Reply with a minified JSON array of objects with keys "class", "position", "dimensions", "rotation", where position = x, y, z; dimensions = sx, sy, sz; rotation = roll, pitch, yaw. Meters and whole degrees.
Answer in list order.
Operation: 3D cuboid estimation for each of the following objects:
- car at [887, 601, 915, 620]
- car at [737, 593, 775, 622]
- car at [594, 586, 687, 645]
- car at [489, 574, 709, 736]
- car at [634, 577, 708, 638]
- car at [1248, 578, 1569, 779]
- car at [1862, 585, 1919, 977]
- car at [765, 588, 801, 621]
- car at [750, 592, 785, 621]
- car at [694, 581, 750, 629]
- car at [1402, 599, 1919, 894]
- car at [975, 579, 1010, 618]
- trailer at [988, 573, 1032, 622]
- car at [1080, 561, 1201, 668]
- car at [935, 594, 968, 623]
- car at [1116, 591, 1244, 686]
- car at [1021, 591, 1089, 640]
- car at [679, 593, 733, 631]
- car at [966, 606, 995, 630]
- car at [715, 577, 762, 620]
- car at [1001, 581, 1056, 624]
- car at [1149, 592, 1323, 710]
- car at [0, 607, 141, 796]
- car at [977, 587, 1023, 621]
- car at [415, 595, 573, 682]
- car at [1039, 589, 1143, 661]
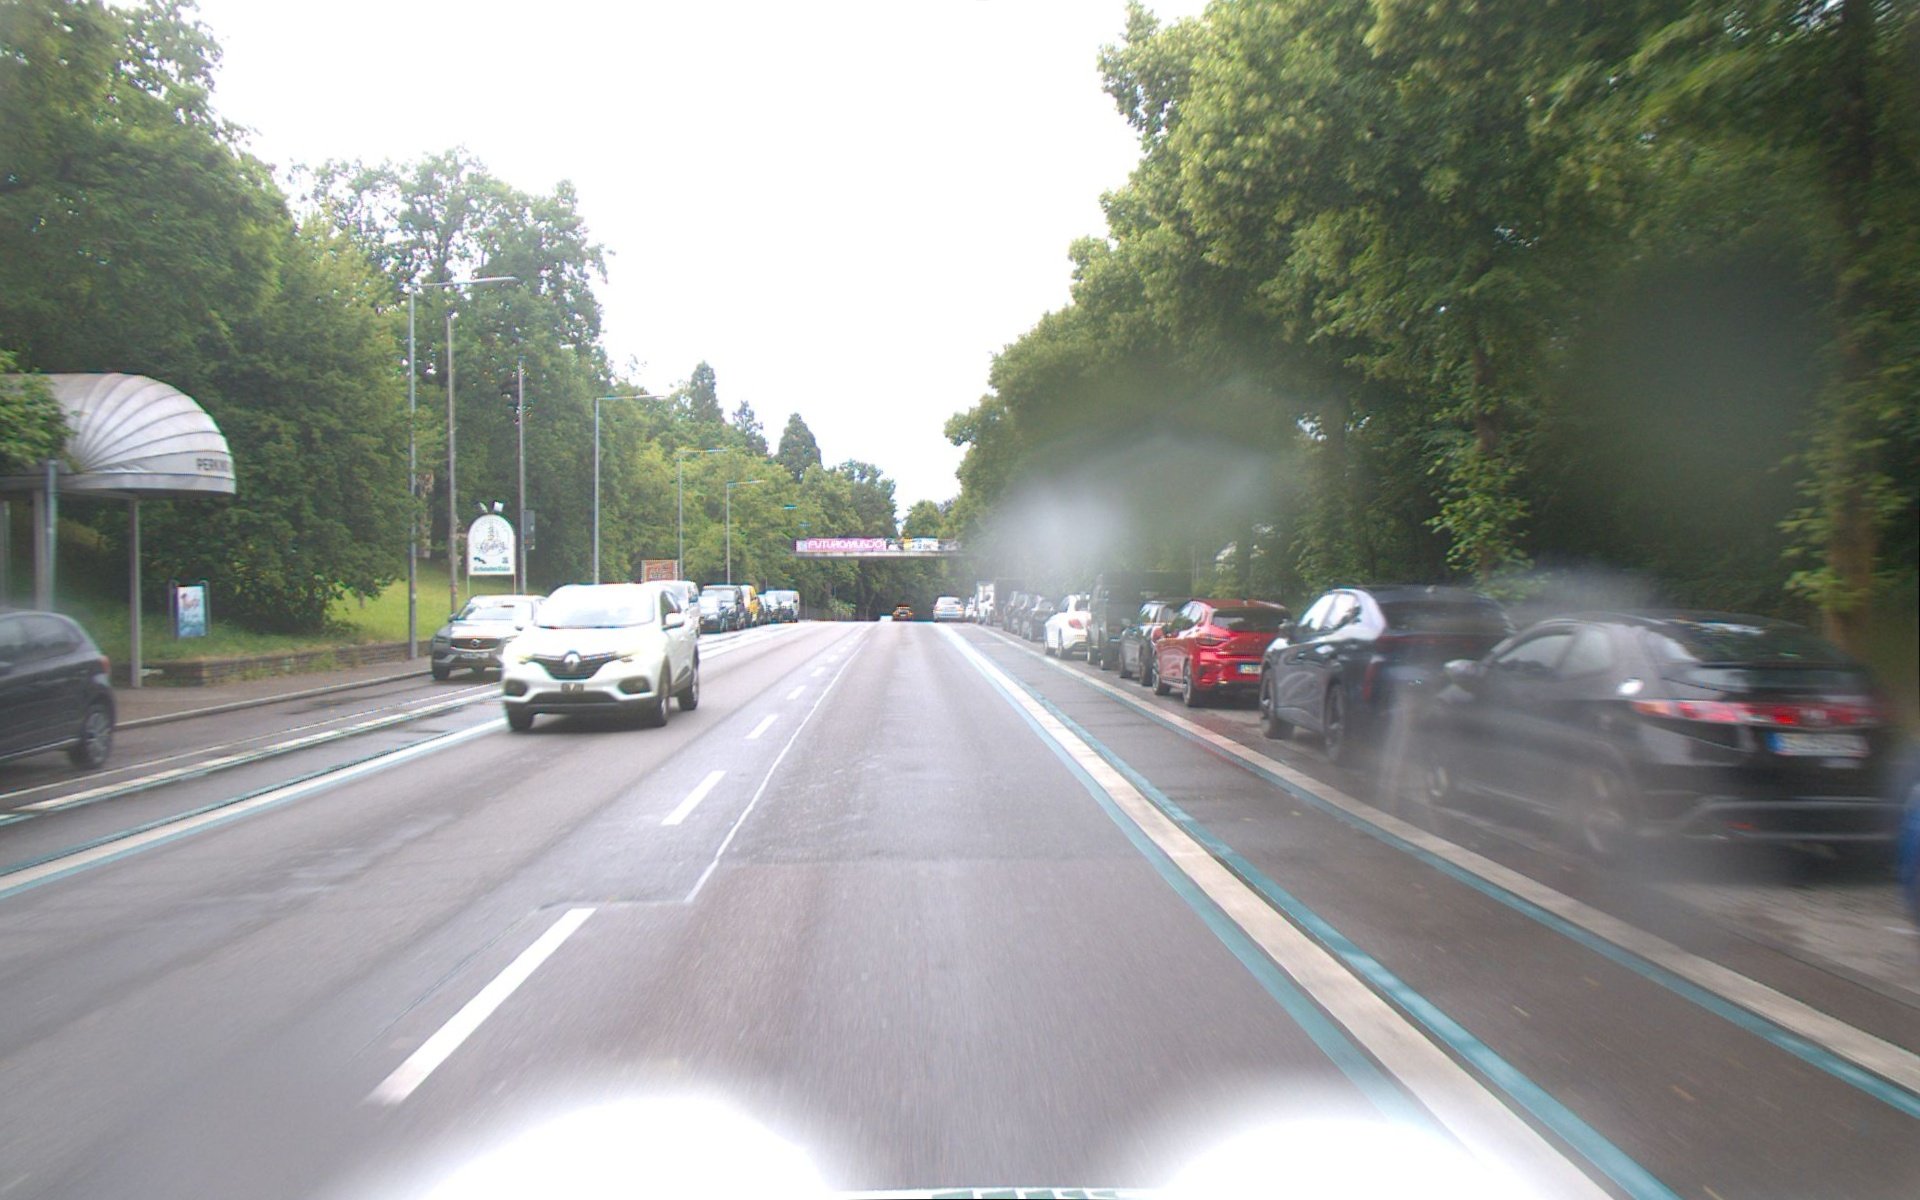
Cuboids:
[{"class":"car","position":[-5.053,0.894,141.540],"dimensions":[2.099,1.518,4.493],"rotation":[0,0,-5]},{"class":"car","position":[-11.017,0.402,89.652],"dimensions":[1.849,1.476,3.979],"rotation":[-1,1,-5]},{"class":"car","position":[-9.754,0.435,50.871],"dimensions":[1.950,1.633,4.984],"rotation":[-1,1,-1]},{"class":"car","position":[-4.176,0.571,19.779],"dimensions":[1.759,1.680,4.128],"rotation":[-2,1,-1]},{"class":"car","position":[-9.881,0.215,56.918],"dimensions":[1.875,1.965,4.925],"rotation":[0,1,-3]},{"class":"car","position":[4.086,0.627,15.861],"dimensions":[1.721,1.617,4.497],"rotation":[1,0,-2]},{"class":"car","position":[4.685,0.745,5.018],"dimensions":[1.652,1.540,3.833],"rotation":[1,0,-3]},{"class":"car","position":[-10.997,0.237,103.018],"dimensions":[1.721,1.965,4.193],"rotation":[0,1,1]},{"class":"car","position":[-11.088,0.359,95.571],"dimensions":[1.833,1.569,4.051],"rotation":[-1,1,-5]},{"class":"car","position":[-10.429,0.183,72.825],"dimensions":[1.950,1.980,5.140],"rotation":[0,1,-3]},{"class":"car","position":[4.398,0.772,10.709],"dimensions":[1.653,1.481,4.142],"rotation":[1,0,-5]},{"class":"car","position":[1.826,-0.116,94.270],"dimensions":[1.851,2.164,4.044],"rotation":[0,0,-1]},{"class":"trailer","position":[2.324,-0.114,77.466],"dimensions":[1.845,2.203,3.807],"rotation":[-1,0,-1]},{"class":"car","position":[3.663,0.256,34.349],"dimensions":[1.887,2.057,4.662],"rotation":[0,0,-2]},{"class":"car","position":[-0.513,0.478,94.628],"dimensions":[1.696,1.611,4.035],"rotation":[-1,0,-2]},{"class":"car","position":[3.723,0.613,28.530],"dimensions":[1.573,1.478,3.746],"rotation":[1,0,-2]},{"class":"car","position":[3.026,0.465,53.358],"dimensions":[1.697,1.489,4.274],"rotation":[1,1,-4]},{"class":"car","position":[-10.304,0.459,67.366],"dimensions":[1.696,1.414,4.368],"rotation":[0,1,-3]},{"class":"car","position":[1.294,1.130,106.208],"dimensions":[1.696,1.488,4.044],"rotation":[-1,0,-1]},{"class":"car","position":[-10.569,-0.094,79.080],"dimensions":[1.845,1.979,4.823],"rotation":[0,1,-3]},{"class":"car","position":[2.675,0.078,65.275],"dimensions":[1.697,1.611,4.151],"rotation":[1,0,-4]},{"class":"car","position":[3.823,0.652,23.594],"dimensions":[1.652,1.478,4.164],"rotation":[1,0,-2]},{"class":"car","position":[-8.542,0.831,13.736],"dimensions":[1.637,1.483,3.991],"rotation":[-1,0,-3]},{"class":"car","position":[1.942,0.206,81.567],"dimensions":[1.698,1.611,4.148],"rotation":[-1,0,-7]},{"class":"car","position":[-8.827,0.683,31.728],"dimensions":[2.036,1.508,4.669],"rotation":[0,0,-5]},{"class":"car","position":[3.043,0.541,39.261],"dimensions":[1.753,1.570,4.886],"rotation":[1,0,-4]}]
